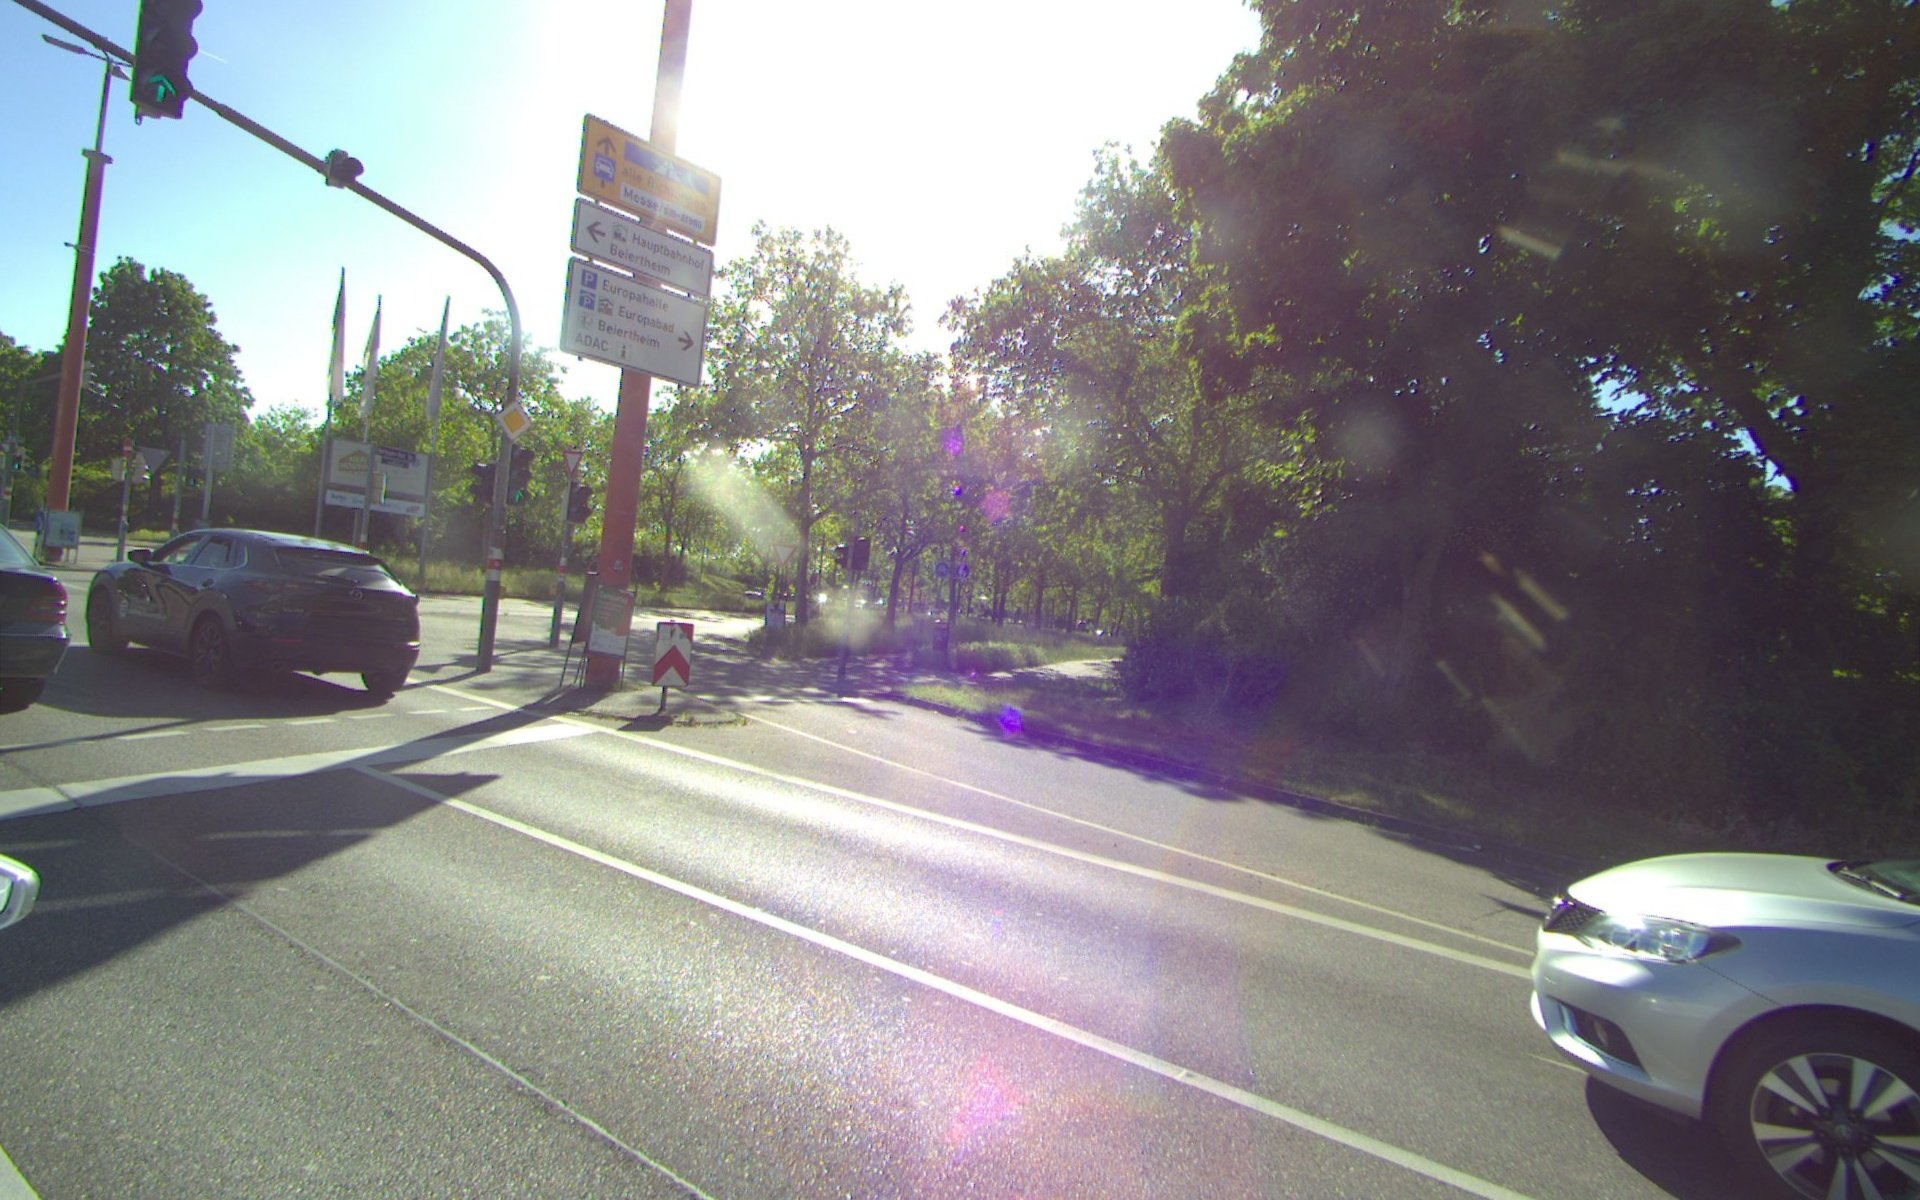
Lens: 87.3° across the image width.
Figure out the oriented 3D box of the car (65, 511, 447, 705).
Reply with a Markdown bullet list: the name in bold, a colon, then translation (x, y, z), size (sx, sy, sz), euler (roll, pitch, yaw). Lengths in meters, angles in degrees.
- **car**: translation (-7.567, 0.047, 10.720), size (4.157, 1.525, 1.771), euler (6, -2, 33)

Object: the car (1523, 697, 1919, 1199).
- **car**: translation (4.256, 1.398, 3.203), size (4.070, 1.535, 1.724), euler (7, -2, 33)

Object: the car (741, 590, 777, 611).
- **car**: translation (-19.081, 0.093, 95.749), size (1.831, 1.534, 4.143), euler (7, -2, 10)

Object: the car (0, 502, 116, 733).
- **car**: translation (-8.125, -0.105, 7.274), size (4.126, 1.472, 1.716), euler (7, 0, 30)

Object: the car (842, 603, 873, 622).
- **car**: translation (-10.974, 1.374, 107.989), size (1.740, 1.525, 4.231), euler (7, -2, 15)
